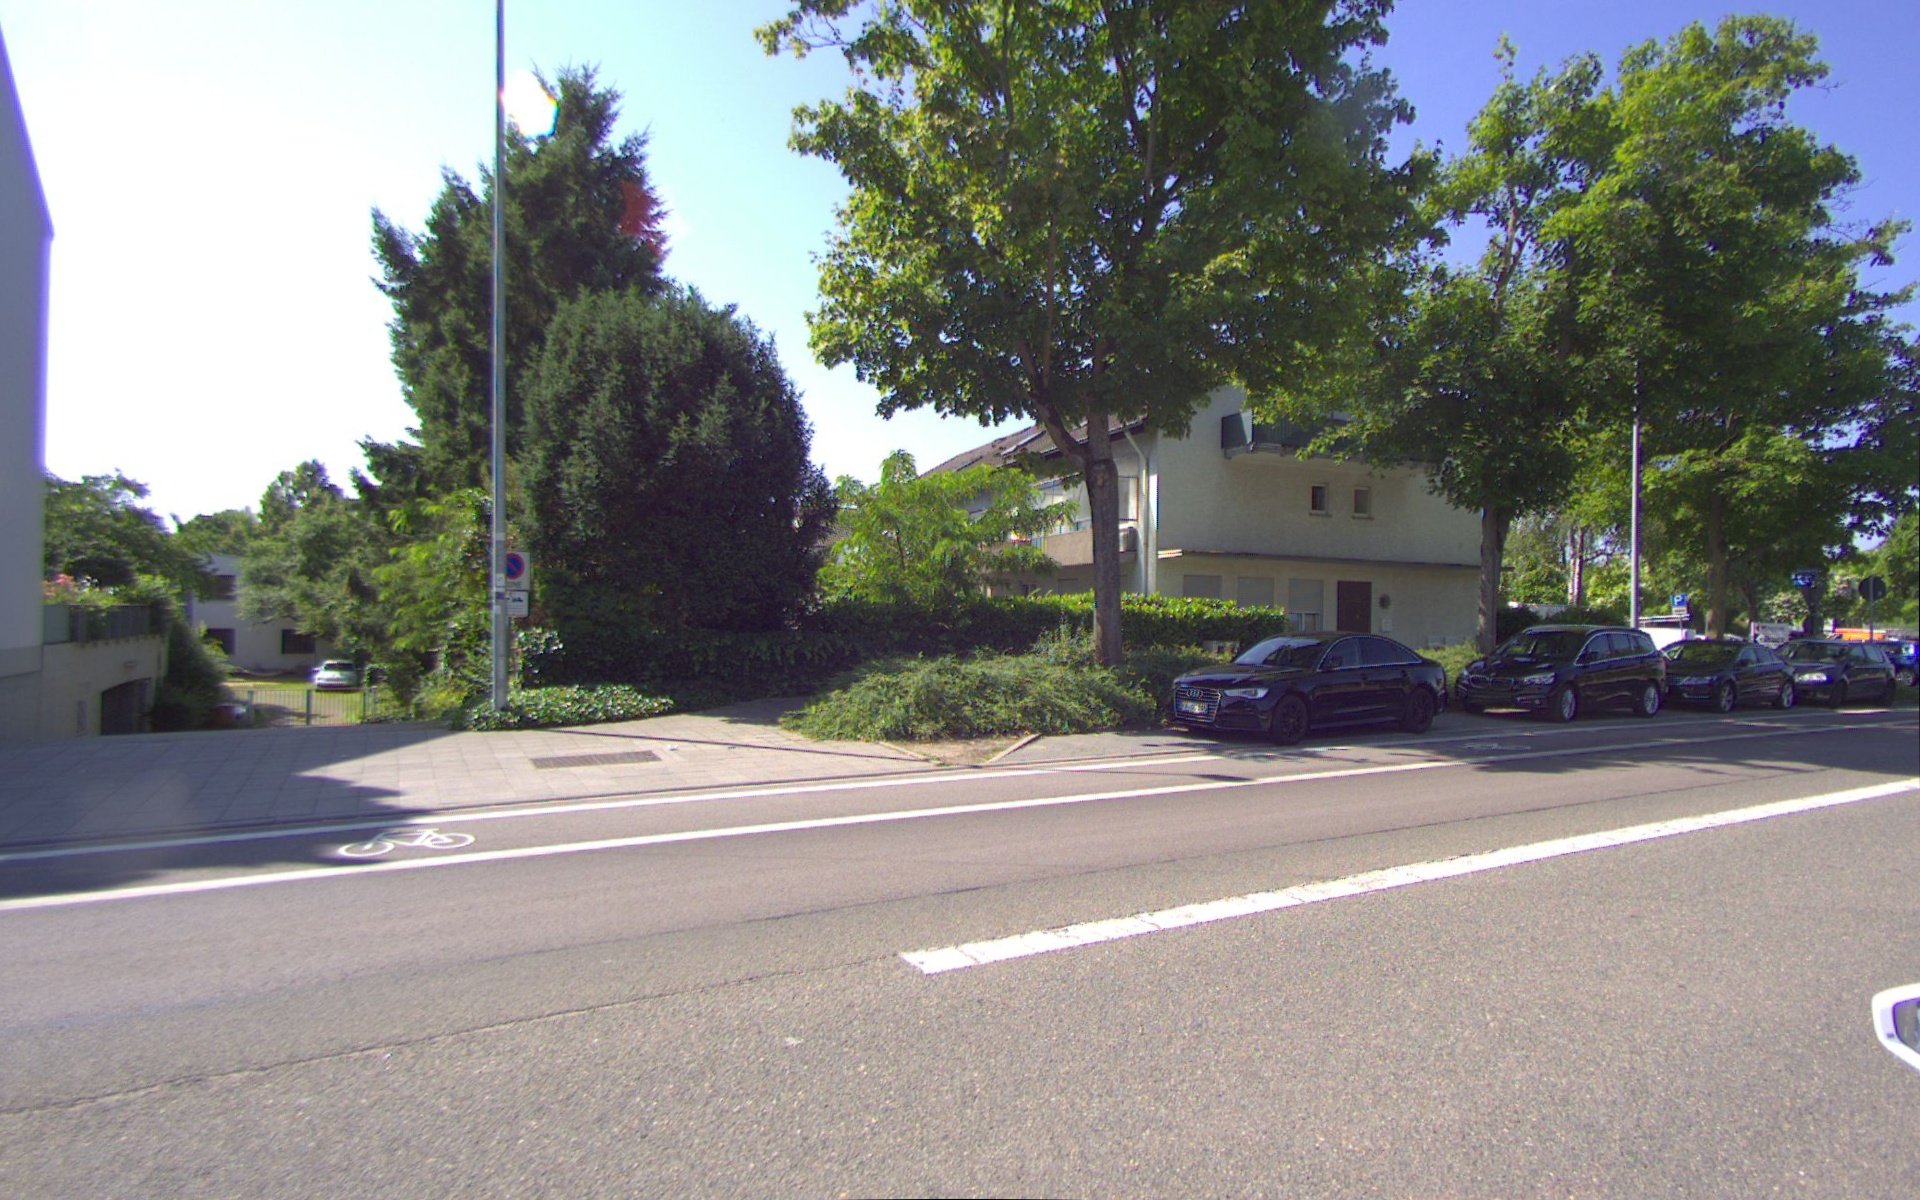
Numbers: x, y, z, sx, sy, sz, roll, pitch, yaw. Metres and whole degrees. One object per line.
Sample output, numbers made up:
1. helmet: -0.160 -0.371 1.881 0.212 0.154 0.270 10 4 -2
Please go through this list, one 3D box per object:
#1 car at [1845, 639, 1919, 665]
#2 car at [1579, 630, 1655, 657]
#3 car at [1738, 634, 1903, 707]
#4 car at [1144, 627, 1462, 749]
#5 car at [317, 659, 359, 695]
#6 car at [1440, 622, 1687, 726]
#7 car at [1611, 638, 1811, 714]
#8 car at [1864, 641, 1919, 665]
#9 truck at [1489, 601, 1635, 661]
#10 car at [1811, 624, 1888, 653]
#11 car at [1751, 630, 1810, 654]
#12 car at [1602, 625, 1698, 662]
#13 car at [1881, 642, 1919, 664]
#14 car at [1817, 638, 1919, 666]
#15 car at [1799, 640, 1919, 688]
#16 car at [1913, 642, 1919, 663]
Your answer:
1. car: 50.330 2.802 53.884 1.748 1.281 3.973 1 -1 -27
2. car: 41.763 2.763 63.892 1.537 1.374 3.760 1 2 -25
3. car: 20.120 1.610 23.455 3.956 1.470 1.634 2 1 -29
4. car: 5.099 1.172 14.648 4.858 1.485 1.829 2 -1 -34
5. car: -31.344 3.834 50.721 1.627 1.344 3.968 0 2 -29
6. car: 11.000 1.271 18.217 4.837 1.627 1.753 2 0 -31
7. car: 15.742 1.528 20.999 4.727 1.398 1.682 1 -1 -31
8. car: 52.466 2.901 55.064 1.748 1.241 3.973 1 -1 -27
9. truck: 35.496 1.747 59.528 2.206 3.059 7.103 1 2 -31
10. car: 72.007 3.114 81.364 1.980 2.040 4.228 2 1 -35
11. car: 66.333 3.392 81.210 1.535 1.901 3.405 1 -1 -31
12. car: 44.262 2.770 64.520 1.980 2.040 4.663 2 1 -34
13. car: 54.640 3.006 56.388 1.748 1.241 3.973 1 -1 -27
14. car: 47.973 2.705 52.918 1.748 1.368 3.973 1 -1 -27
15. car: 29.181 1.971 31.635 1.727 1.426 3.891 0 -2 -24
16. car: 58.487 3.103 58.518 1.748 1.241 3.973 1 -1 -27
